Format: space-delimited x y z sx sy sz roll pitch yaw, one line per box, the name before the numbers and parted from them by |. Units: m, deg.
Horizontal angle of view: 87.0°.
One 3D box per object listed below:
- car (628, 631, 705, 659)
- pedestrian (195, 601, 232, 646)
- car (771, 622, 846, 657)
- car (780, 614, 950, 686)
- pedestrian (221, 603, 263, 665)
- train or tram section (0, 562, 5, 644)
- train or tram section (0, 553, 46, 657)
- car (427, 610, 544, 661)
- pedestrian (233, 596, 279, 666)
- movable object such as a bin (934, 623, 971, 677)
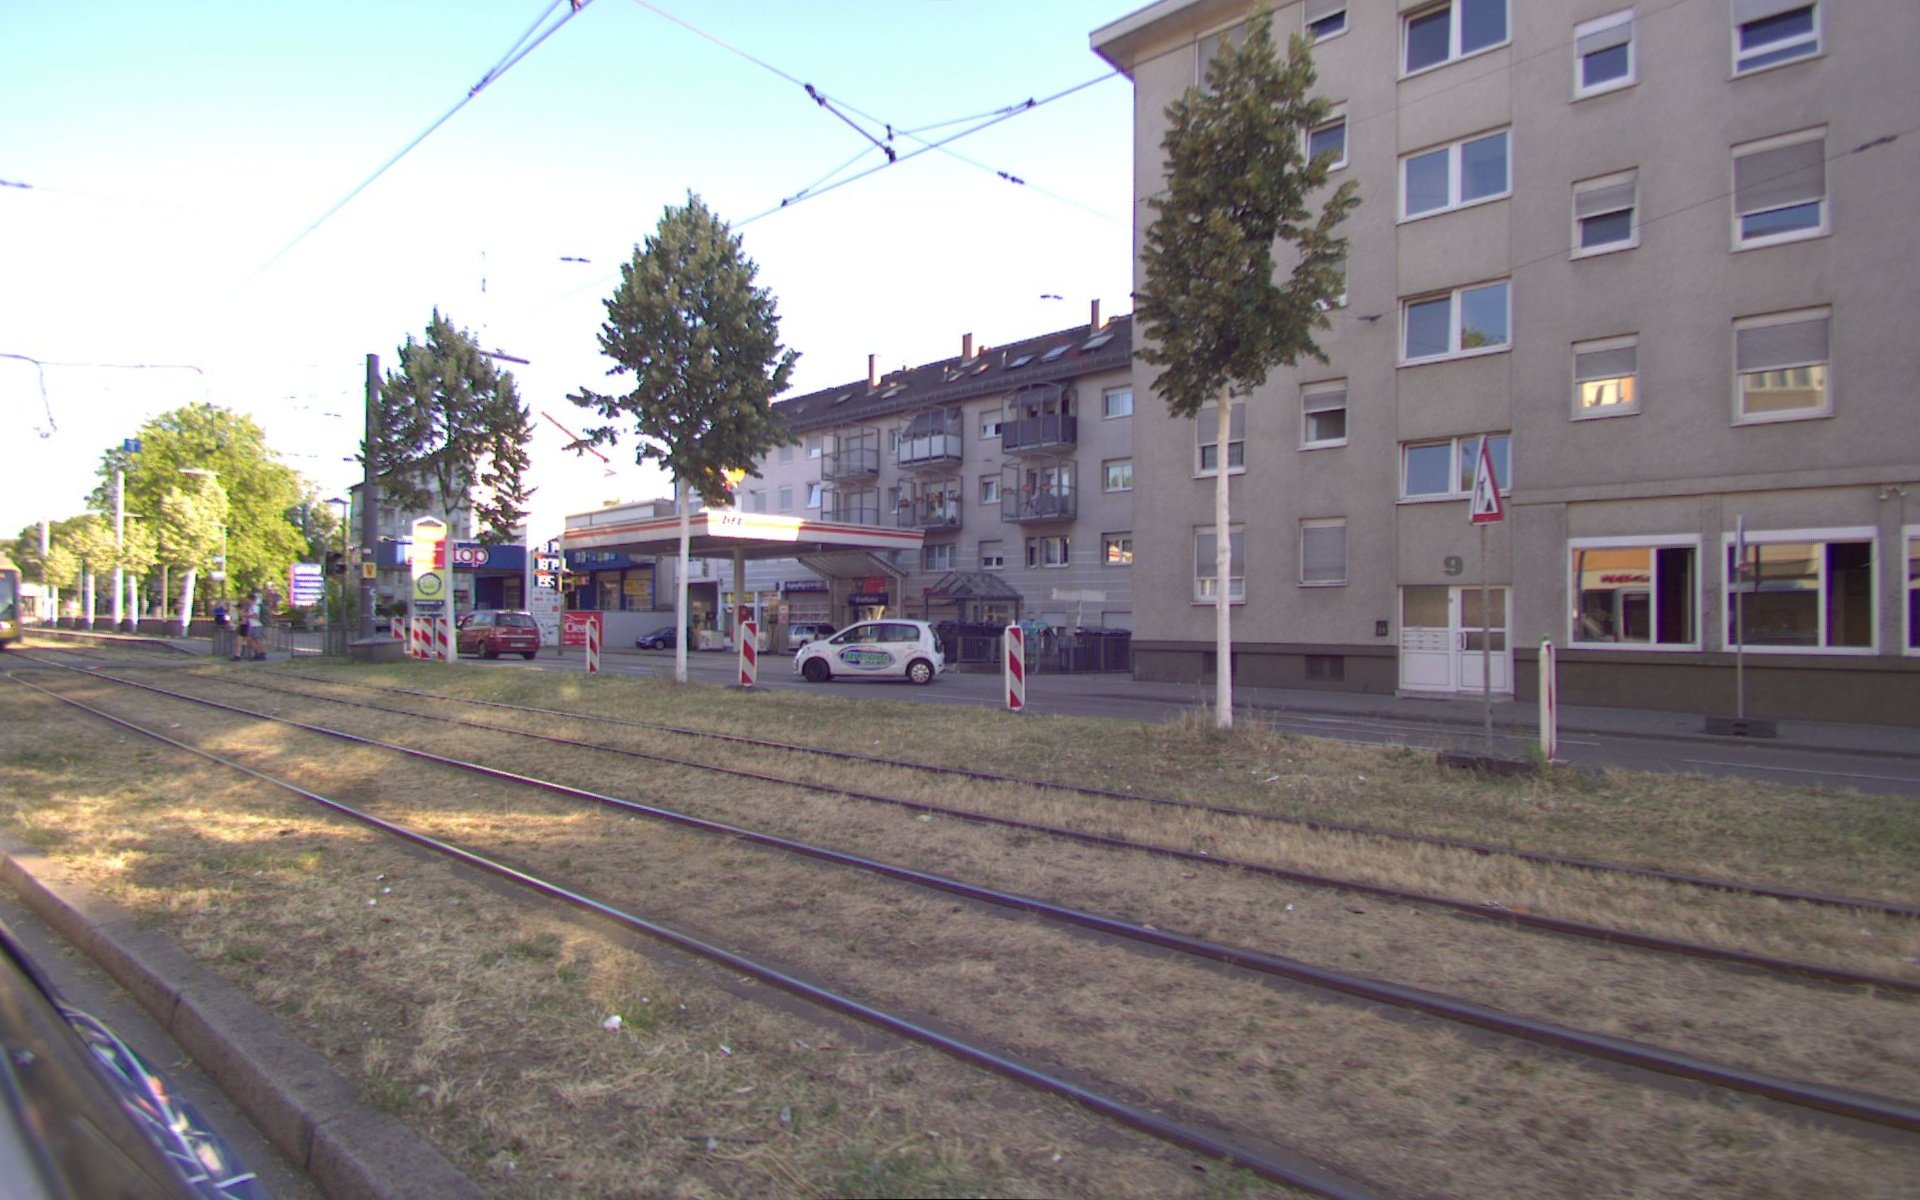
car | -16.554 2.517 57.222 1.818 1.535 3.752 -1 -2 44
pedestrian | -28.000 0.870 37.973 0.925 1.666 0.925 -1 1 41
car | -7.545 1.931 50.283 3.831 1.535 1.791 0 0 45
car | -2.142 1.152 23.634 3.775 1.523 1.818 1 -2 0
pedestrian | -20.748 0.976 29.252 0.859 1.760 0.745 -1 -2 38
train or tram section | -44.598 0.133 44.206 10.090 3.544 3.004 0 -3 41
train or tram section | -36.957 0.146 37.620 10.090 3.544 3.004 0 -3 41
car | -16.143 1.168 34.298 4.934 1.572 1.792 0 -2 42
pedestrian | -20.006 0.878 28.759 0.754 1.947 0.849 -1 -2 39
movable object such as a bin | -0.194 1.338 27.229 0.748 1.411 0.656 -1 -2 40
